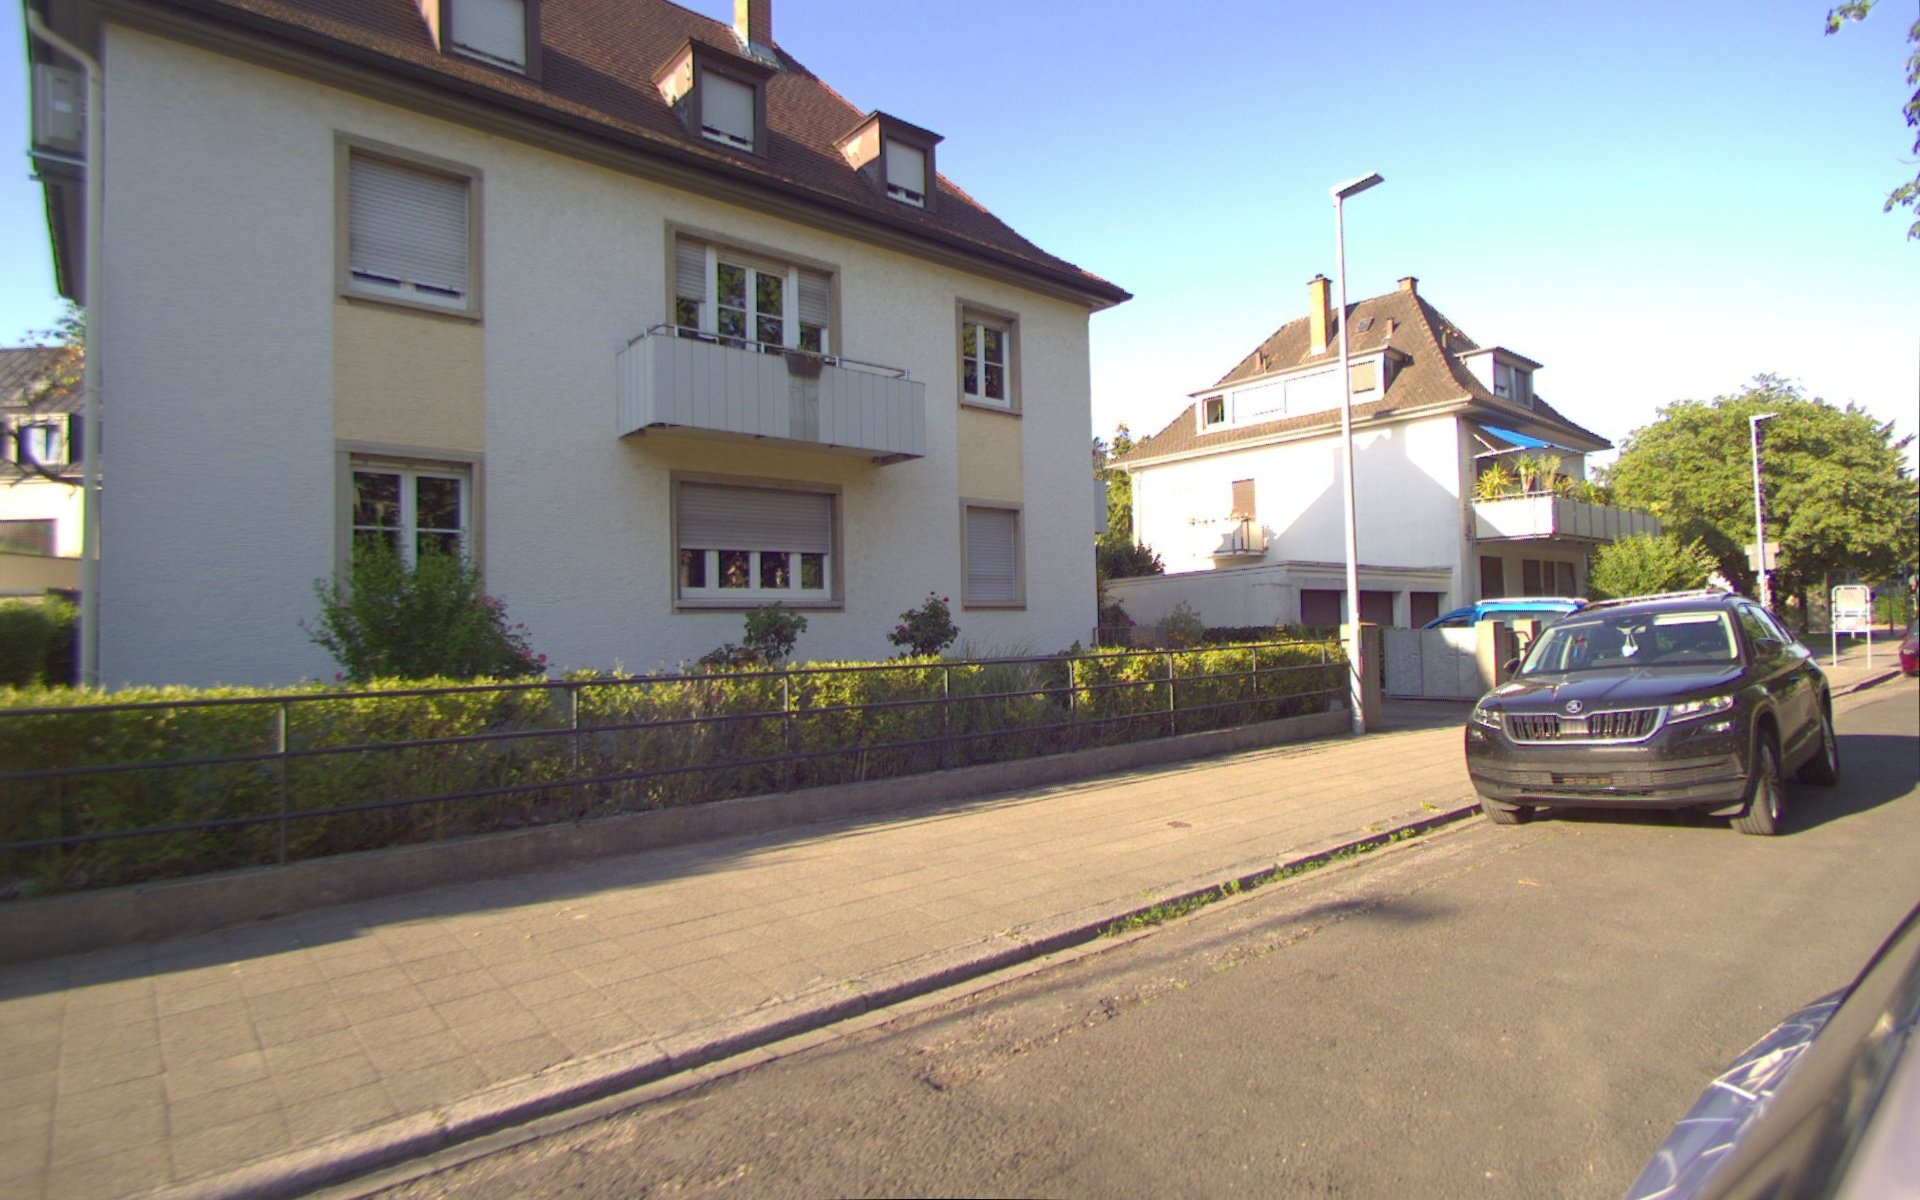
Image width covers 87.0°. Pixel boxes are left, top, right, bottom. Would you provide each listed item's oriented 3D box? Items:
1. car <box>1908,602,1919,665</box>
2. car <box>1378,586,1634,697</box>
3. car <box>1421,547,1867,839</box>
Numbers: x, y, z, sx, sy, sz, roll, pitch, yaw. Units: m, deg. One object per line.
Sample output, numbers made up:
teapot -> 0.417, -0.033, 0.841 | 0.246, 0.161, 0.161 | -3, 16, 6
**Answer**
car -> 25.056, 0.790, 25.114 | 4.151, 1.514, 1.822 | 0, -2, -42
car -> 10.629, 0.793, 19.899 | 1.967, 1.953, 3.989 | 1, -2, -44
car -> 5.707, 0.663, 8.213 | 4.391, 1.743, 1.859 | 0, -7, -43
